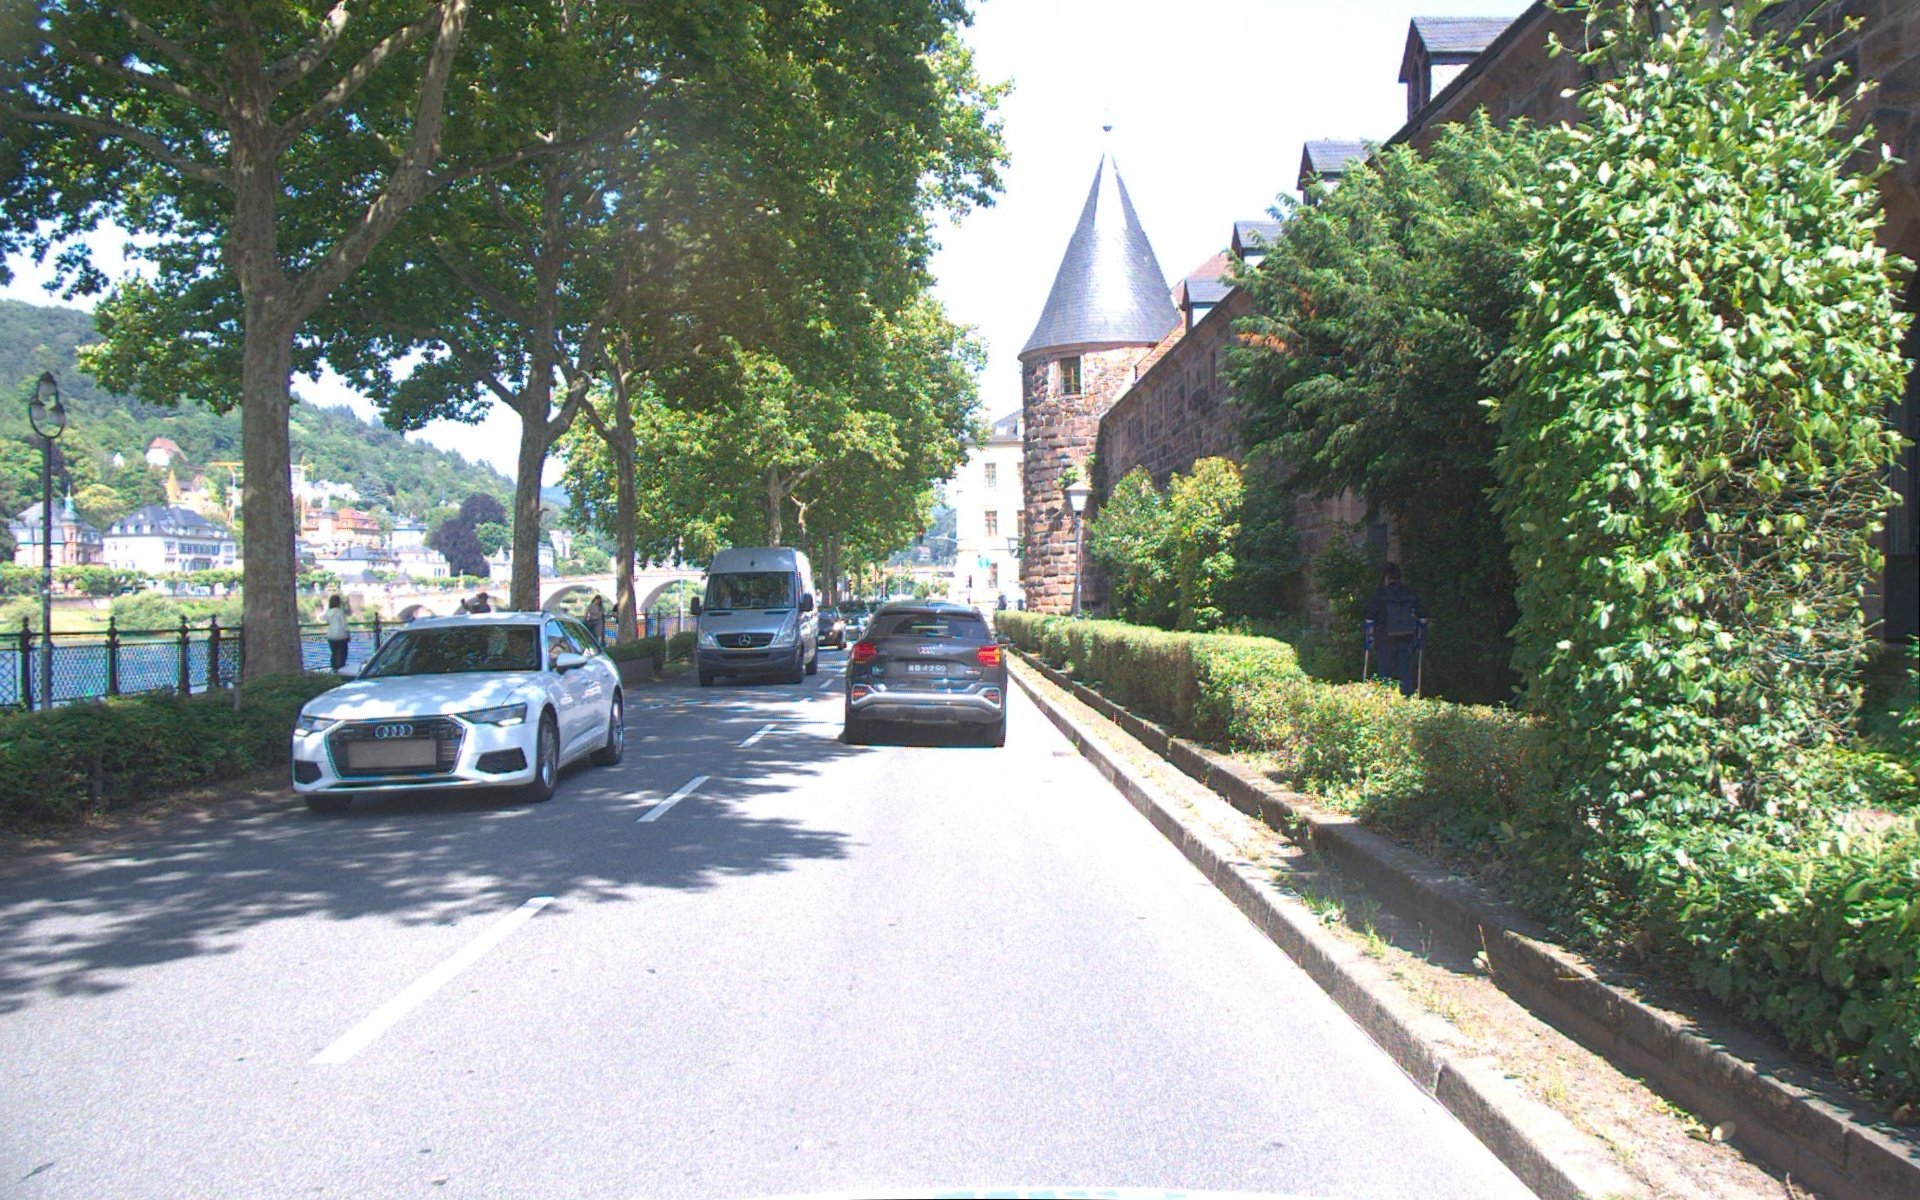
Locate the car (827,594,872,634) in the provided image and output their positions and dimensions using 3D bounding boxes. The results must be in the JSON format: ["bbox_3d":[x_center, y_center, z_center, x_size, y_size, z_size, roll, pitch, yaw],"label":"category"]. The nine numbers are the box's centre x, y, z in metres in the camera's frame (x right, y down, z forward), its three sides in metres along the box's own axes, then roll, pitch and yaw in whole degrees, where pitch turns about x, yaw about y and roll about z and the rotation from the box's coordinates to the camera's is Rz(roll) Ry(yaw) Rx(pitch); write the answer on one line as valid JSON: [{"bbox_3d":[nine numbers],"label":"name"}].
[{"bbox_3d":[-5.000,0.614,75.353,1.839,1.728,4.257,-2,0,-2],"label":"car"}]

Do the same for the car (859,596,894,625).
[{"bbox_3d":[-5.160,0.629,102.308,1.726,1.676,4.091,-2,0,3],"label":"car"}]

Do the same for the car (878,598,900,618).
[{"bbox_3d":[-5.773,0.629,134.298,1.581,1.549,3.476,1,0,1],"label":"car"}]

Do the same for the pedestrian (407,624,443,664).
[{"bbox_3d":[-12.344,1.017,38.179,0.595,0.899,0.705,0,0,-2],"label":"pedestrian"}]

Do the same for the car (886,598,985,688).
[{"bbox_3d":[-0.454,0.789,32.153,1.764,1.590,3.715,-2,0,0],"label":"car"}]

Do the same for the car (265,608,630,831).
[{"bbox_3d":[-4.064,0.853,13.924,1.734,1.482,4.532,-3,0,-2],"label":"car"}]

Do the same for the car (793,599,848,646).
[{"bbox_3d":[-4.672,0.733,55.812,1.616,1.495,3.778,-2,0,-2],"label":"car"}]

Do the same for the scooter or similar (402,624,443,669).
[{"bbox_3d":[-12.349,1.063,38.031,0.618,0.985,1.012,1,-1,-1],"label":"scooter or similar"}]

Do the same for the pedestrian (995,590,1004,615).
[{"bbox_3d":[2.591,0.170,107.372,0.545,1.661,0.660,1,-1,0],"label":"pedestrian"}]

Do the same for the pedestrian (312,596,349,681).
[{"bbox_3d":[-13.047,0.789,34.304,0.572,1.740,0.403,1,-1,-3],"label":"pedestrian"}]

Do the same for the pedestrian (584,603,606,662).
[{"bbox_3d":[-9.981,0.885,45.266,0.448,1.581,0.585,-2,0,-1],"label":"pedestrian"}]

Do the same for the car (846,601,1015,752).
[{"bbox_3d":[-0.361,0.789,18.830,1.713,1.521,3.627,1,0,-2],"label":"car"}]

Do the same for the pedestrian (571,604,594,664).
[{"bbox_3d":[-10.031,0.892,43.983,0.448,1.581,0.585,-2,0,-2],"label":"pedestrian"}]

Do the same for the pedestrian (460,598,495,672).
[{"bbox_3d":[-10.984,0.794,37.673,0.631,1.647,0.458,1,-1,-3],"label":"pedestrian"}]

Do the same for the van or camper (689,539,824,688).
[{"bbox_3d":[-3.936,0.267,32.947,1.921,2.612,5.839,-3,0,-1],"label":"van or camper"}]

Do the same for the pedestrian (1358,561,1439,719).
[{"bbox_3d":[4.783,0.431,18.078,0.684,1.681,0.705,1,-1,1],"label":"pedestrian"}]
